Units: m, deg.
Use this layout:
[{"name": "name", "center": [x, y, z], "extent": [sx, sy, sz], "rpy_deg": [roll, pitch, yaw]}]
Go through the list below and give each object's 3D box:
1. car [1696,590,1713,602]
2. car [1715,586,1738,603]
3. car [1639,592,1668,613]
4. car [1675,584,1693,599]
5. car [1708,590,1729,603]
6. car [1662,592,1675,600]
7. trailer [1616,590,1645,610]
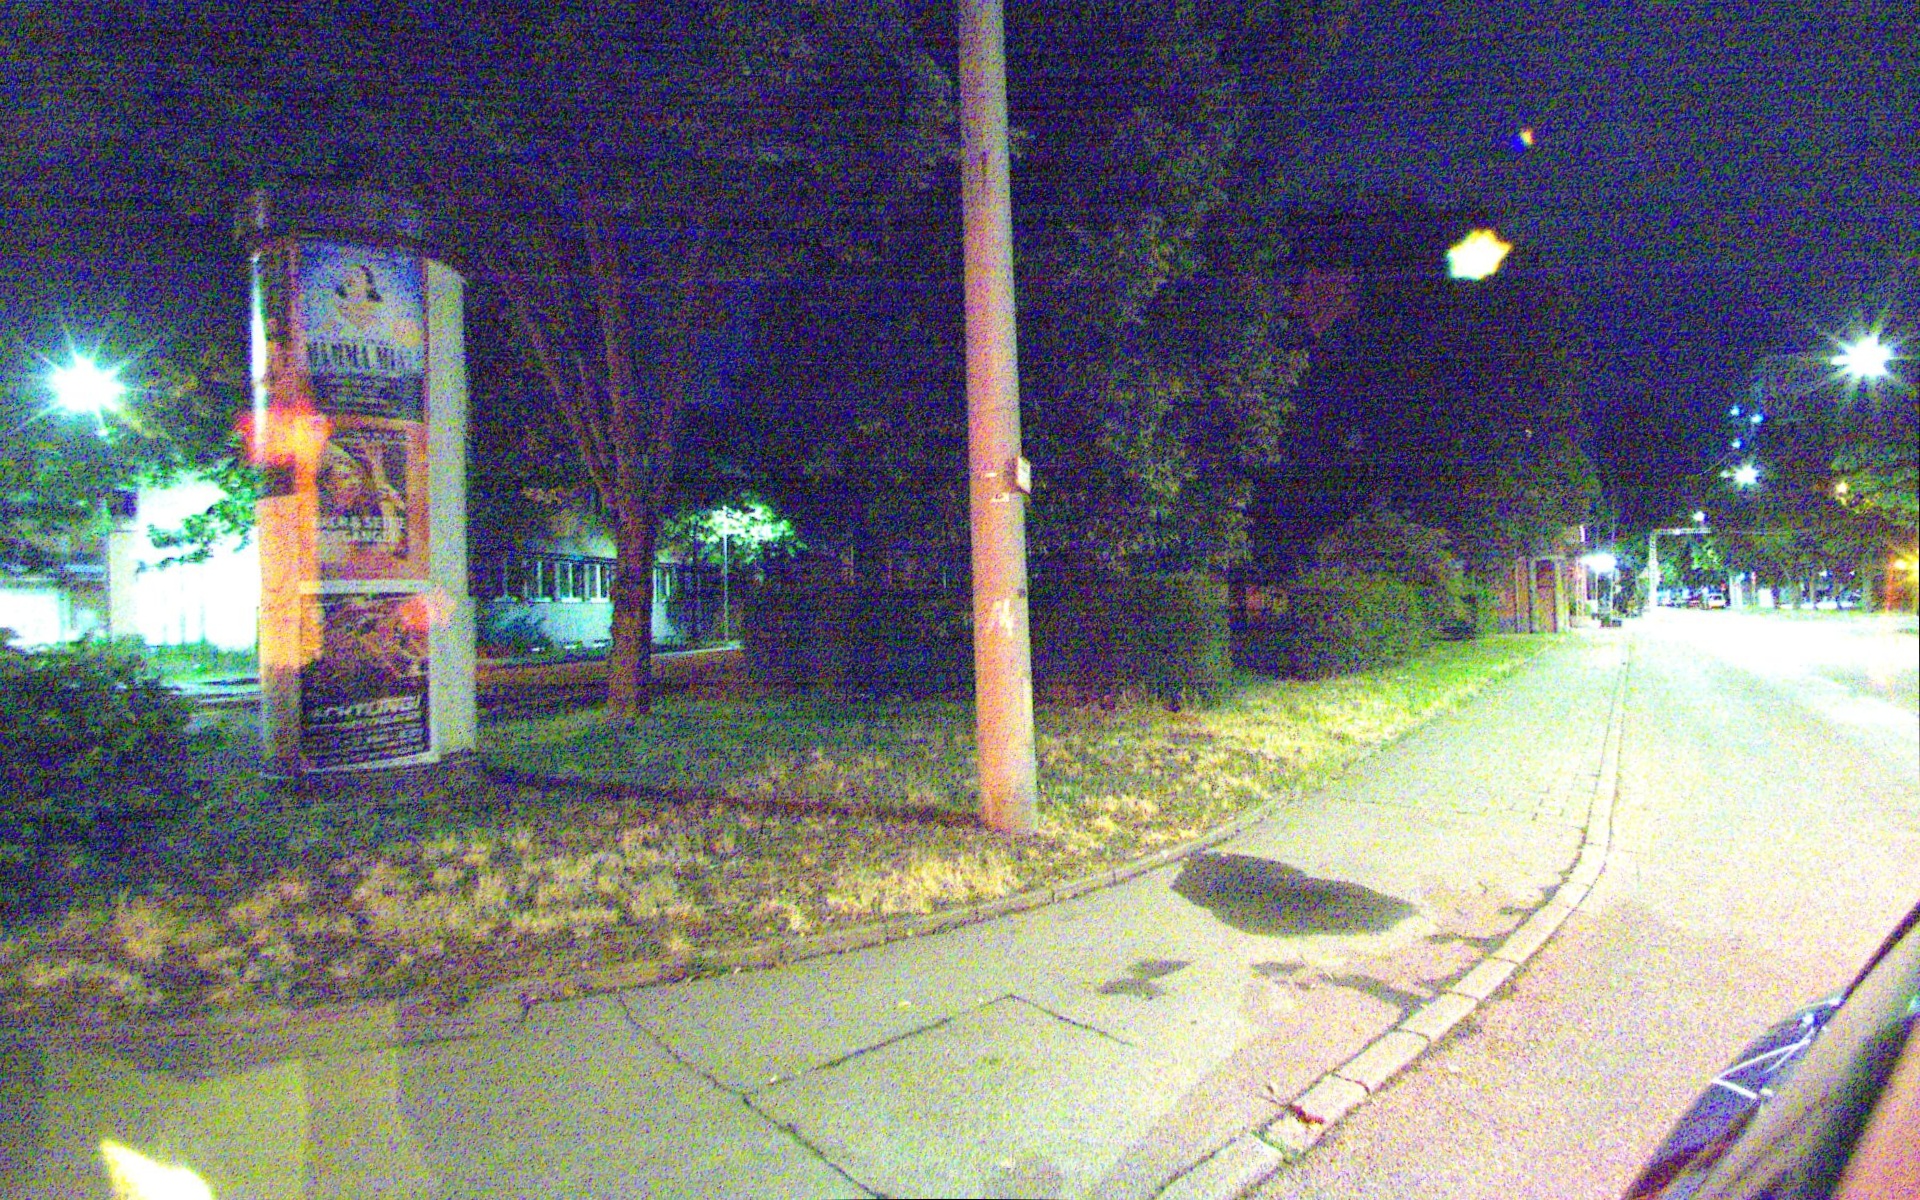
[{"name": "car", "center": [103.505, -0.555, 140.676], "extent": [1.815, 1.668, 3.684], "rpy_deg": [-1, 0, 35]}, {"name": "car", "center": [88.767, -0.612, 117.215], "extent": [1.871, 1.832, 3.684], "rpy_deg": [-5, -3, 35]}, {"name": "car", "center": [50.355, 0.176, 73.441], "extent": [1.582, 1.480, 3.747], "rpy_deg": [-3, -1, 36]}, {"name": "car", "center": [127.366, -1.512, 178.115], "extent": [1.990, 2.540, 4.898], "rpy_deg": [-5, -3, 32]}, {"name": "car", "center": [91.711, -0.393, 122.345], "extent": [1.815, 1.450, 3.684], "rpy_deg": [-5, -3, 35]}, {"name": "car", "center": [141.036, -0.763, 201.582], "extent": [1.813, 1.450, 3.689], "rpy_deg": [-5, -3, 32]}, {"name": "trailer", "center": [54.005, 0.029, 81.477], "extent": [1.596, 1.514, 3.683], "rpy_deg": [-3, -2, 37]}]
